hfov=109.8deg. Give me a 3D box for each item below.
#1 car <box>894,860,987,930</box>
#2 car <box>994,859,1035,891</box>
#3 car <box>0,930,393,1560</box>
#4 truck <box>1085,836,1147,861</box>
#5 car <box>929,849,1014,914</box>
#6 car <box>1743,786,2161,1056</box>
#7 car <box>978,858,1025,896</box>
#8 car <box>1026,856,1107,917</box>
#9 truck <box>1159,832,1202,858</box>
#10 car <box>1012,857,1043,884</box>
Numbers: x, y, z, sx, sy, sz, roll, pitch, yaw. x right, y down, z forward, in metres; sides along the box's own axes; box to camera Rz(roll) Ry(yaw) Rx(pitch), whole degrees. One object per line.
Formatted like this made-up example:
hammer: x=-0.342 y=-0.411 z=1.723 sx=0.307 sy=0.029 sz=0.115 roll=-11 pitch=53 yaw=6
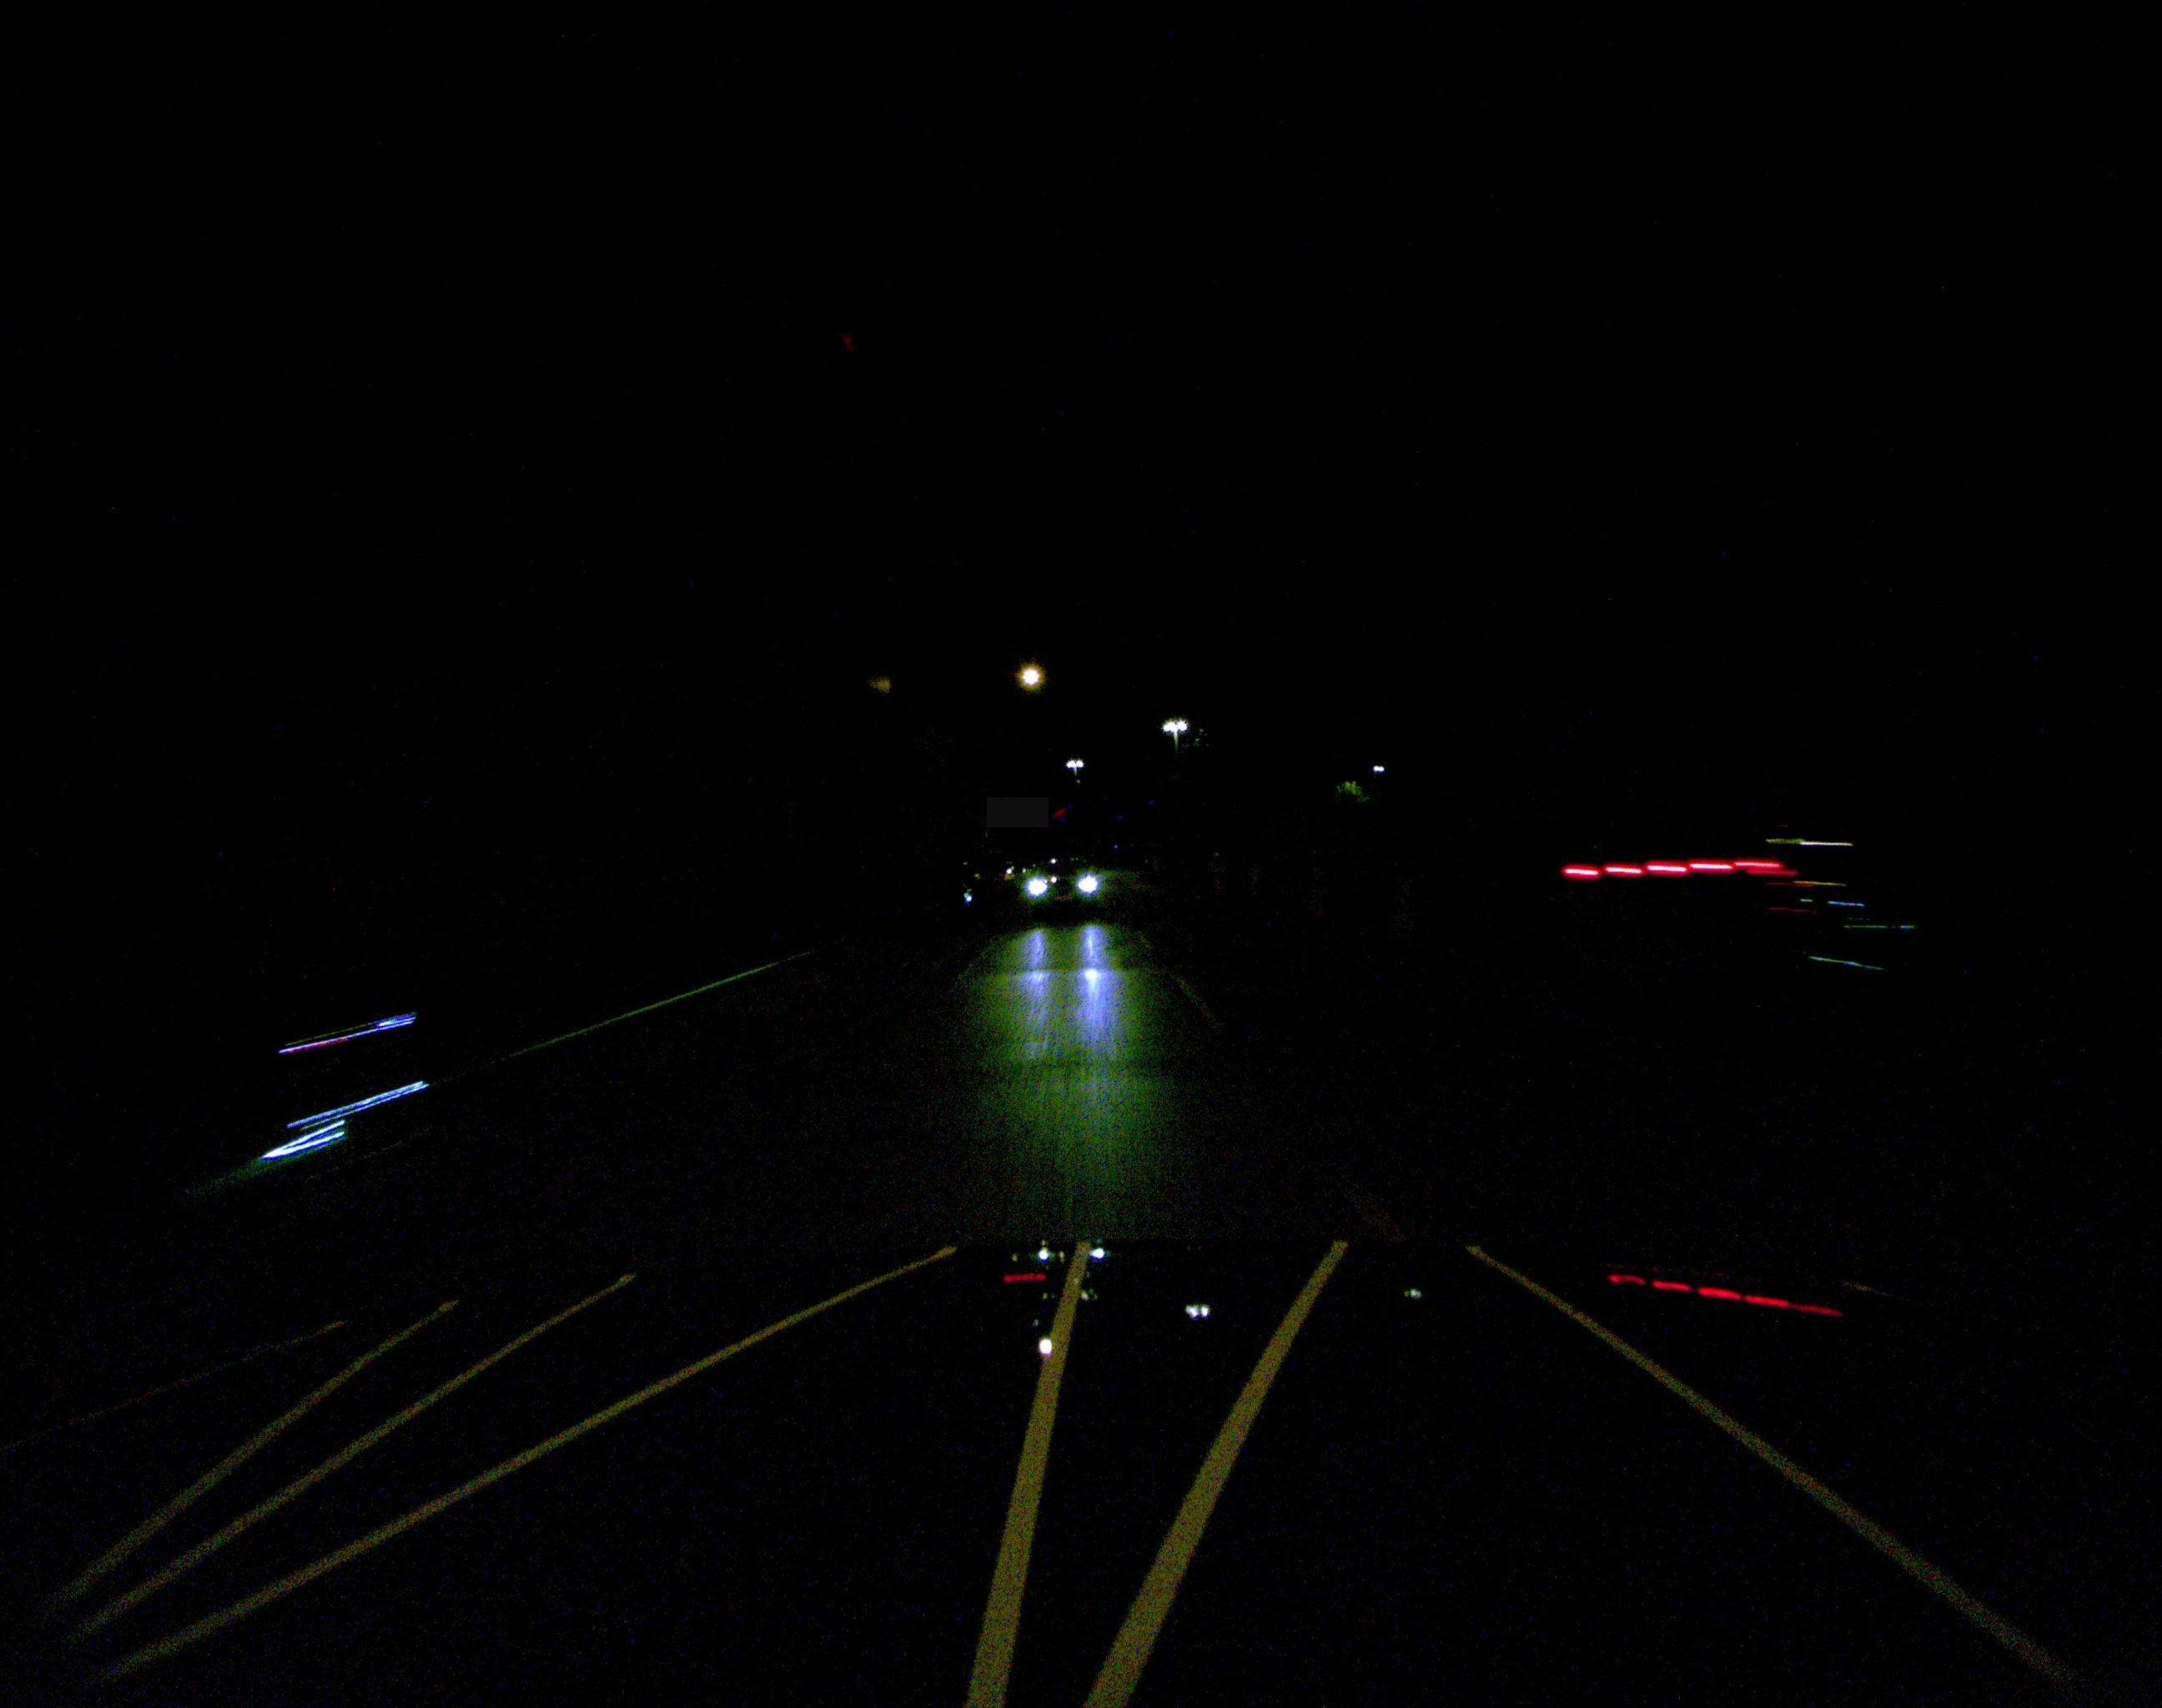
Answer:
car: x=-3.616 y=0.995 z=20.282 sx=1.824 sy=1.590 sz=4.219 roll=1 pitch=0 yaw=-2
car: x=-3.389 y=1.042 z=39.545 sx=1.748 sy=1.500 sz=4.833 roll=0 pitch=0 yaw=-1
car: x=-3.555 y=1.036 z=0.635 sx=1.783 sy=1.418 sz=4.480 roll=-1 pitch=1 yaw=1
truck: x=5.390 y=-0.815 z=118.065 sx=9.340 sy=3.701 sz=2.002 roll=-1 pitch=1 yaw=16
car: x=-3.522 y=0.805 z=25.486 sx=2.077 sy=1.917 sz=5.370 roll=0 pitch=1 yaw=0
car: x=8.247 y=0.441 z=6.089 sx=3.993 sy=1.878 sz=1.910 roll=-1 pitch=1 yaw=13
car: x=-3.551 y=1.000 z=34.505 sx=1.748 sy=1.556 sz=4.210 roll=0 pitch=1 yaw=-1
car: x=-0.327 y=0.883 z=22.421 sx=1.998 sy=1.606 sz=4.001 roll=-1 pitch=0 yaw=4
truck: x=15.277 y=-1.362 z=116.116 sx=6.196 sy=3.672 sz=2.403 roll=-1 pitch=1 yaw=13
car: x=-3.479 y=1.045 z=50.075 sx=1.748 sy=1.673 sz=4.257 roll=0 pitch=1 yaw=-1
